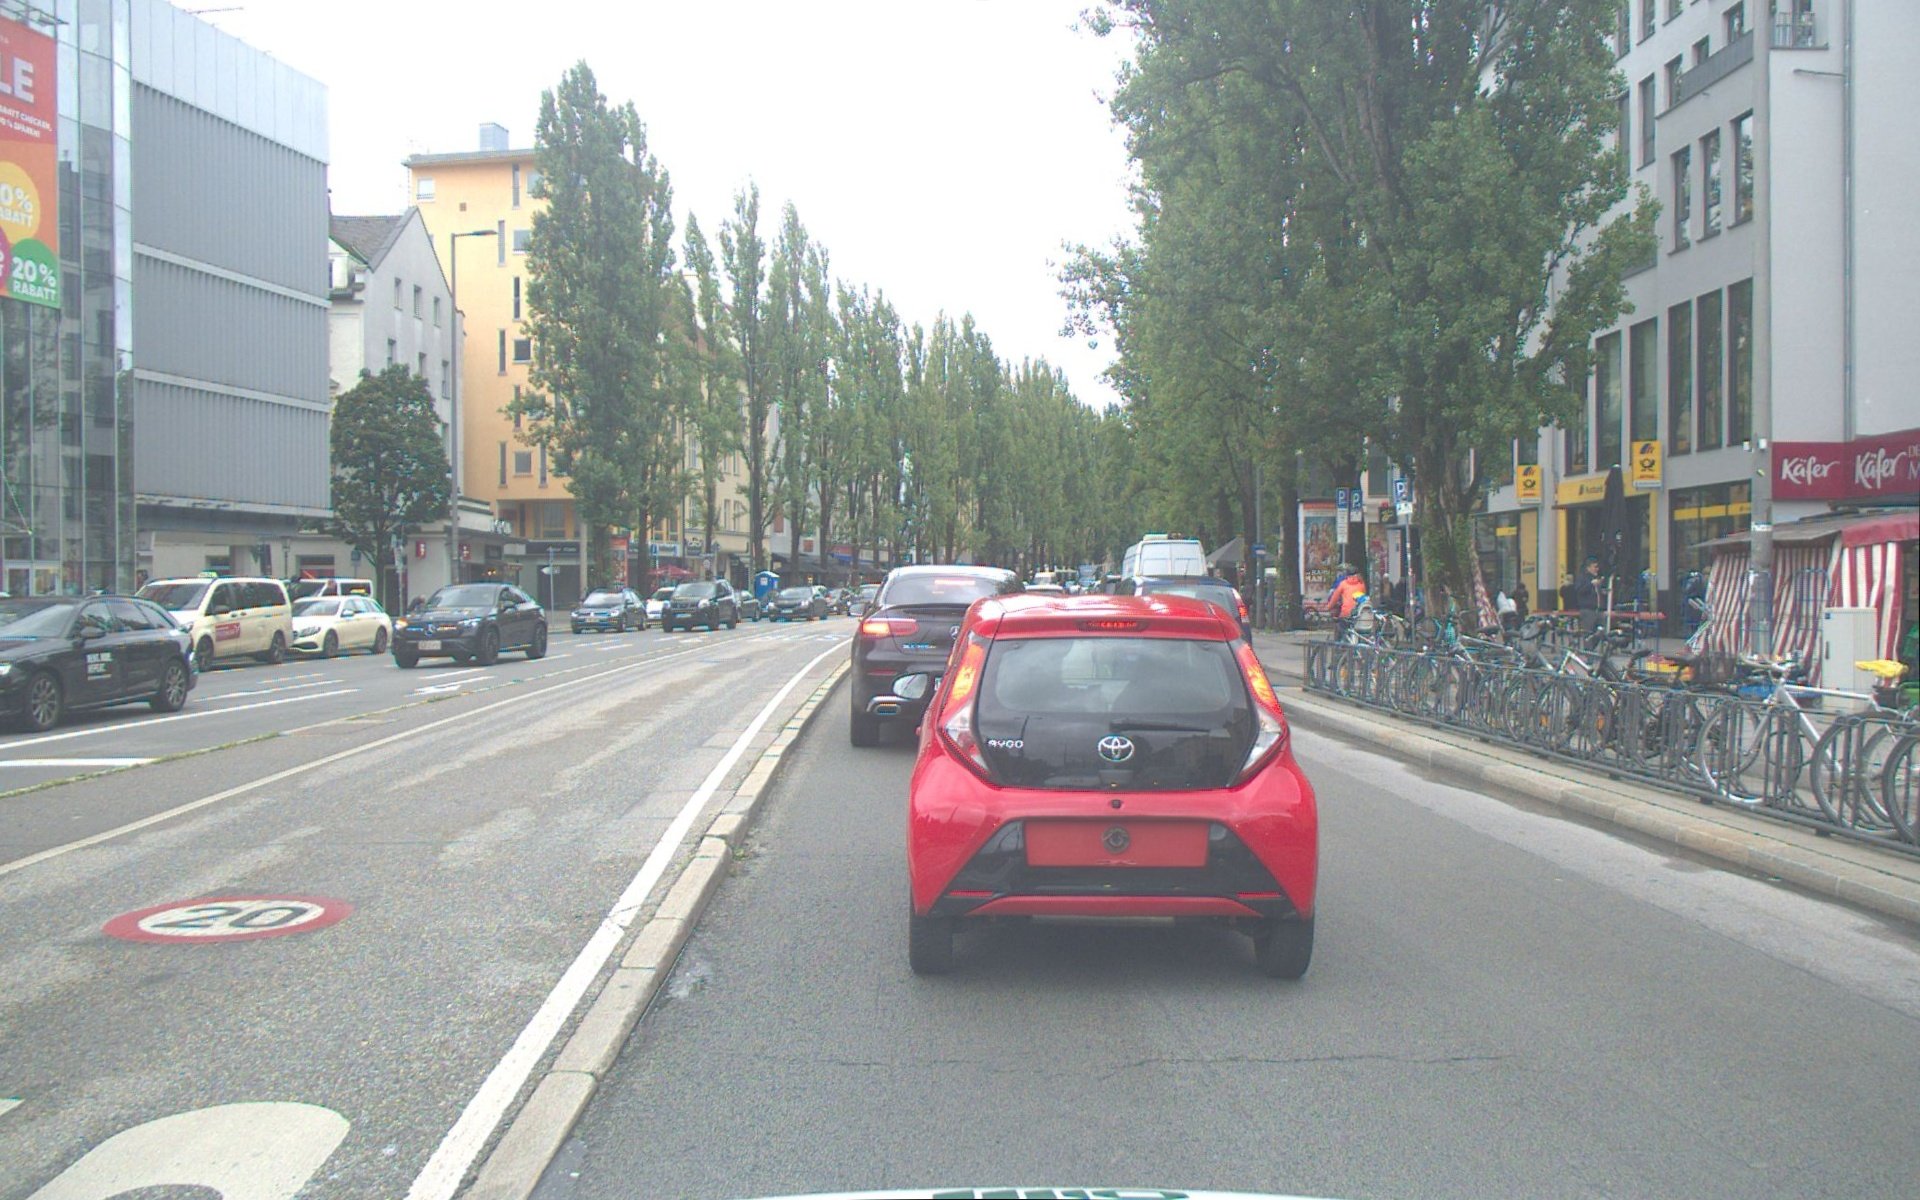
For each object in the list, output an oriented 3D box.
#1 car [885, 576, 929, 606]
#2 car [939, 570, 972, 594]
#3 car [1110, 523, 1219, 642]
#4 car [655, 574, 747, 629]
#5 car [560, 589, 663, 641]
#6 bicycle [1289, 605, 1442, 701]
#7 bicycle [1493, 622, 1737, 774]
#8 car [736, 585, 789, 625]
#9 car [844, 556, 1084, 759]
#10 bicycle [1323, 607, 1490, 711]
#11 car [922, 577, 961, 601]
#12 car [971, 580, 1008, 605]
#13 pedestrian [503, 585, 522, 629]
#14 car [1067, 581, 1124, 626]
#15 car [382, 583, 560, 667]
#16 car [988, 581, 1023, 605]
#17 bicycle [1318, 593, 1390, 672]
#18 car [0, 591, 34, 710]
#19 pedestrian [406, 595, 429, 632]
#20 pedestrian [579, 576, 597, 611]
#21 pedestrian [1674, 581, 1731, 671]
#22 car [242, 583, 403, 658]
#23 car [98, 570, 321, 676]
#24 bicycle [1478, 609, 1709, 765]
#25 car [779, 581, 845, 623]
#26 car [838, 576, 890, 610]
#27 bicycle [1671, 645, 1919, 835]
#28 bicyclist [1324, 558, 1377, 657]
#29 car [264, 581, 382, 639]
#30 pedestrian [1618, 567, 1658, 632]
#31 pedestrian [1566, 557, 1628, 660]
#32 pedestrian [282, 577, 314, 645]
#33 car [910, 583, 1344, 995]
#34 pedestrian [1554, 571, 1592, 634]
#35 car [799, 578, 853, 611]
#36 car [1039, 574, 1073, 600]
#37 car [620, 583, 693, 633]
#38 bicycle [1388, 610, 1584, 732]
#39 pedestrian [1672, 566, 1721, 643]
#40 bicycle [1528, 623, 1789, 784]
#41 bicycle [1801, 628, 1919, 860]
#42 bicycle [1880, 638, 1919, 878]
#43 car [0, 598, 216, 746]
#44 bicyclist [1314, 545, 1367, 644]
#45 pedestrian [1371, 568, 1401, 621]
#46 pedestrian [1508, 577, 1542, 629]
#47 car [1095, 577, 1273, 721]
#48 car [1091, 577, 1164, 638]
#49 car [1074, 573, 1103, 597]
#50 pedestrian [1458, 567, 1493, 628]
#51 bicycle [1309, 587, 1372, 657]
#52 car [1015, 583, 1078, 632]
[{"bbox_3d":[-3.070,-0.536,97.041,1.951,1.721,4.924,0,1,5],"label":"car"},{"bbox_3d":[-0.334,-1.487,137.457,1.951,1.967,4.418,0,1,11],"label":"car"},{"bbox_3d":[5.028,-0.441,41.327,2.064,2.766,4.803,-1,1,-1],"label":"car"},{"bbox_3d":[-8.553,0.004,54.968,1.952,1.721,4.924,-1,1,4],"label":"car"},{"bbox_3d":[-11.848,0.465,56.593,1.951,1.637,4.537,-1,1,9],"label":"car"},{"bbox_3d":[5.109,0.652,20.887,1.800,1.156,0.584,0,1,35],"label":"bicycle"},{"bbox_3d":[5.430,0.775,13.772,1.805,1.156,0.583,0,1,42],"label":"bicycle"},{"bbox_3d":[-9.739,0.235,81.648,1.817,1.847,4.002,2,0,4],"label":"car"},{"bbox_3d":[-0.027,0.456,15.706,1.953,1.646,3.999,1,1,-2],"label":"car"},{"bbox_3d":[5.230,0.668,19.423,1.800,1.156,0.584,0,1,35],"label":"bicycle"},{"bbox_3d":[-1.312,-0.805,120.855,1.951,1.721,4.418,-1,1,11],"label":"car"},{"bbox_3d":[2.152,-0.545,120.064,1.951,1.721,4.418,-1,1,11],"label":"car"},{"bbox_3d":[-20.851,0.302,77.083,0.673,2.032,0.765,0,0,-2],"label":"pedestrian"},{"bbox_3d":[4.825,0.100,59.301,1.668,1.556,3.555,0,0,-1],"label":"car"},{"bbox_3d":[-9.793,0.459,33.530,1.951,1.561,4.590,-1,1,4],"label":"car"},{"bbox_3d":[3.531,-0.545,127.542,1.951,1.721,4.418,-1,1,11],"label":"car"},{"bbox_3d":[6.792,0.533,28.599,0.601,1.287,2.519,-1,1,-1],"label":"bicycle"},{"bbox_3d":[-13.667,0.695,21.164,1.590,1.579,3.385,-1,1,3],"label":"car"},{"bbox_3d":[-19.815,0.488,60.380,0.545,1.313,0.628,-1,1,10],"label":"pedestrian"},{"bbox_3d":[-19.576,-0.337,87.131,0.673,1.842,0.766,-1,0,10],"label":"pedestrian"},{"bbox_3d":[13.699,0.473,30.531,0.718,1.630,0.741,-1,0,-2],"label":"pedestrian"},{"bbox_3d":[-15.435,0.458,40.308,1.952,1.684,4.535,1,0,3],"label":"car"},{"bbox_3d":[-15.677,0.419,34.937,1.952,2.049,5.525,-1,1,3],"label":"car"},{"bbox_3d":[5.503,0.717,14.441,1.805,1.263,0.583,0,1,42],"label":"bicycle"},{"bbox_3d":[-6.405,0.063,72.072,1.951,1.721,4.924,0,1,5],"label":"car"},{"bbox_3d":[-4.976,-0.384,86.208,1.951,1.721,4.924,0,0,5],"label":"car"},{"bbox_3d":[5.449,0.841,10.279,1.805,1.070,0.583,0,1,42],"label":"bicycle"},{"bbox_3d":[6.776,0.117,28.754,0.601,1.686,1.251,-1,1,-1],"label":"bicyclist"},{"bbox_3d":[-21.041,0.292,54.833,1.830,1.803,4.245,-1,1,7],"label":"car"},{"bbox_3d":[16.731,-0.021,40.806,0.699,1.585,0.676,-1,0,-2],"label":"pedestrian"},{"bbox_3d":[11.107,0.147,28.859,0.774,1.758,0.763,-1,0,-2],"label":"pedestrian"},{"bbox_3d":[-18.196,0.297,45.470,0.545,1.849,0.628,0,0,10],"label":"pedestrian"},{"bbox_3d":[0.599,0.676,7.609,1.572,1.487,3.130,1,1,-1],"label":"car"},{"bbox_3d":[15.584,0.068,42.089,0.699,1.585,0.676,-1,0,-2],"label":"pedestrian"},{"bbox_3d":[-7.363,-0.311,91.187,1.951,1.721,4.925,-1,1,8],"label":"car"},{"bbox_3d":[5.593,-0.745,95.693,1.735,1.464,3.941,0,1,7],"label":"car"},{"bbox_3d":[-11.868,0.308,64.957,1.817,1.847,4.002,2,0,4],"label":"car"},{"bbox_3d":[5.293,0.692,16.695,1.800,1.156,0.584,0,1,35],"label":"bicycle"},{"bbox_3d":[15.847,0.095,35.596,0.718,1.630,0.741,-1,0,-2],"label":"pedestrian"},{"bbox_3d":[5.466,0.775,13.011,1.805,1.156,0.583,0,1,42],"label":"bicycle"},{"bbox_3d":[5.569,0.782,8.874,1.805,1.218,0.583,0,1,42],"label":"bicycle"},{"bbox_3d":[5.570,0.807,8.083,1.805,1.188,0.583,0,1,42],"label":"bicycle"},{"bbox_3d":[-10.360,0.718,18.624,1.807,1.406,4.601,-1,1,1],"label":"car"},{"bbox_3d":[7.485,-0.115,32.563,0.747,1.902,1.132,-1,1,-1],"label":"bicyclist"},{"bbox_3d":[13.406,-0.177,52.092,0.748,1.621,0.676,-1,0,-2],"label":"pedestrian"},{"bbox_3d":[14.375,0.073,42.106,0.625,1.328,0.676,-1,0,-2],"label":"pedestrian"},{"bbox_3d":[2.700,0.535,20.651,1.668,1.617,3.555,-1,1,-1],"label":"car"},{"bbox_3d":[4.762,0.196,47.487,1.668,1.691,3.555,0,0,-1],"label":"car"},{"bbox_3d":[10.249,-1.197,131.381,1.951,1.870,4.004,-1,1,9],"label":"car"},{"bbox_3d":[13.572,-0.068,43.563,0.699,1.585,0.676,-1,0,-2],"label":"pedestrian"},{"bbox_3d":[7.464,0.408,32.547,0.601,1.287,2.519,-1,1,-1],"label":"bicycle"},{"bbox_3d":[2.650,0.198,51.455,1.665,1.451,3.496,-1,1,-2],"label":"car"}]
